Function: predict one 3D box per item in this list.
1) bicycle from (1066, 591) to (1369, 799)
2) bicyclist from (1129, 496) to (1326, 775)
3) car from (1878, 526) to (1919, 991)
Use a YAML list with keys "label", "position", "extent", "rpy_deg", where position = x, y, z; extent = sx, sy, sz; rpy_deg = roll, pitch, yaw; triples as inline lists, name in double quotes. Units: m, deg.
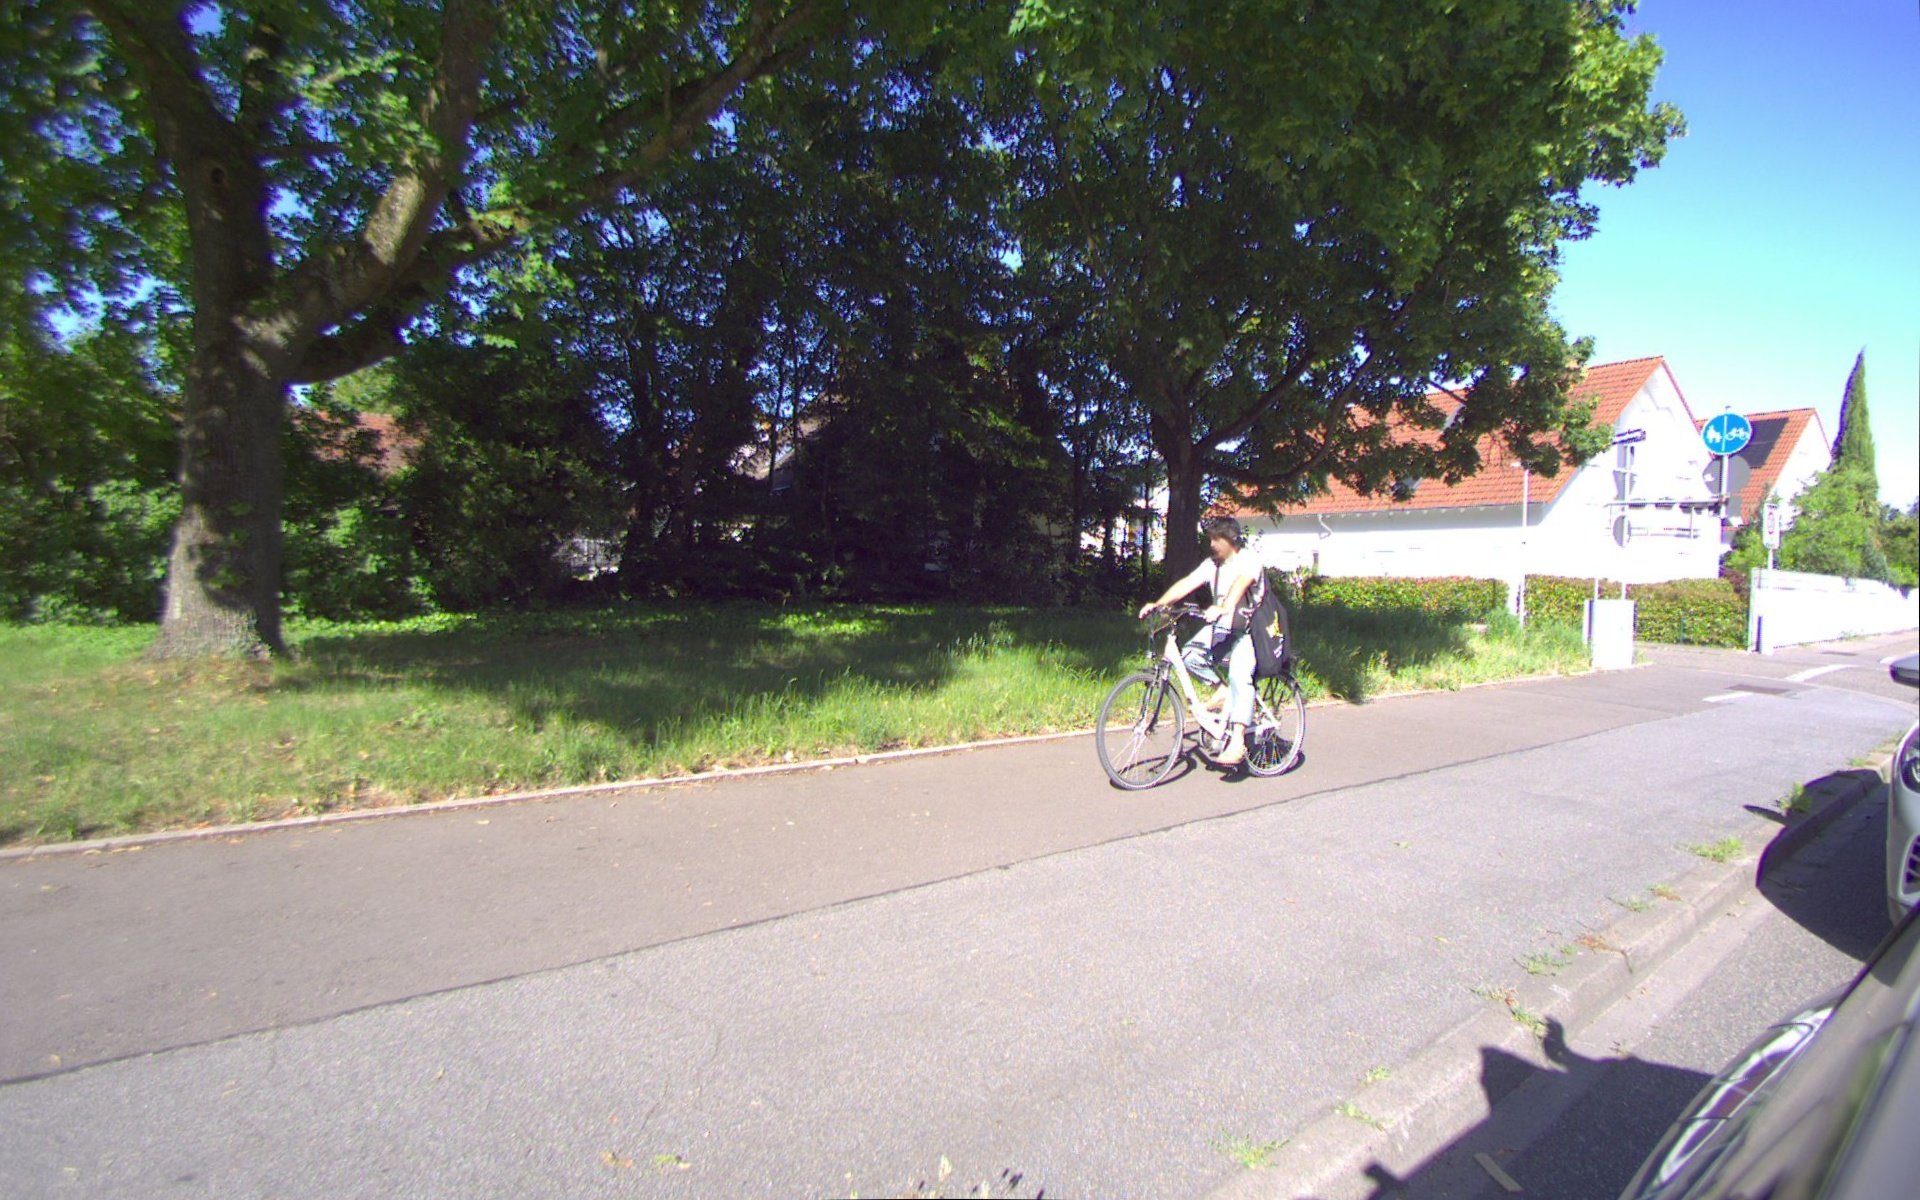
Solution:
- label: "bicycle"
  position: [1.642, 0.545, 6.312]
  extent: [1.948, 1.111, 0.581]
  rpy_deg: [2, 3, -32]
- label: "bicyclist"
  position: [1.662, 0.197, 6.304]
  extent: [0.978, 1.600, 0.581]
  rpy_deg: [2, 3, -32]
- label: "car"
  position: [5.630, 0.605, 4.431]
  extent: [4.133, 1.710, 1.857]
  rpy_deg: [0, 3, -41]
